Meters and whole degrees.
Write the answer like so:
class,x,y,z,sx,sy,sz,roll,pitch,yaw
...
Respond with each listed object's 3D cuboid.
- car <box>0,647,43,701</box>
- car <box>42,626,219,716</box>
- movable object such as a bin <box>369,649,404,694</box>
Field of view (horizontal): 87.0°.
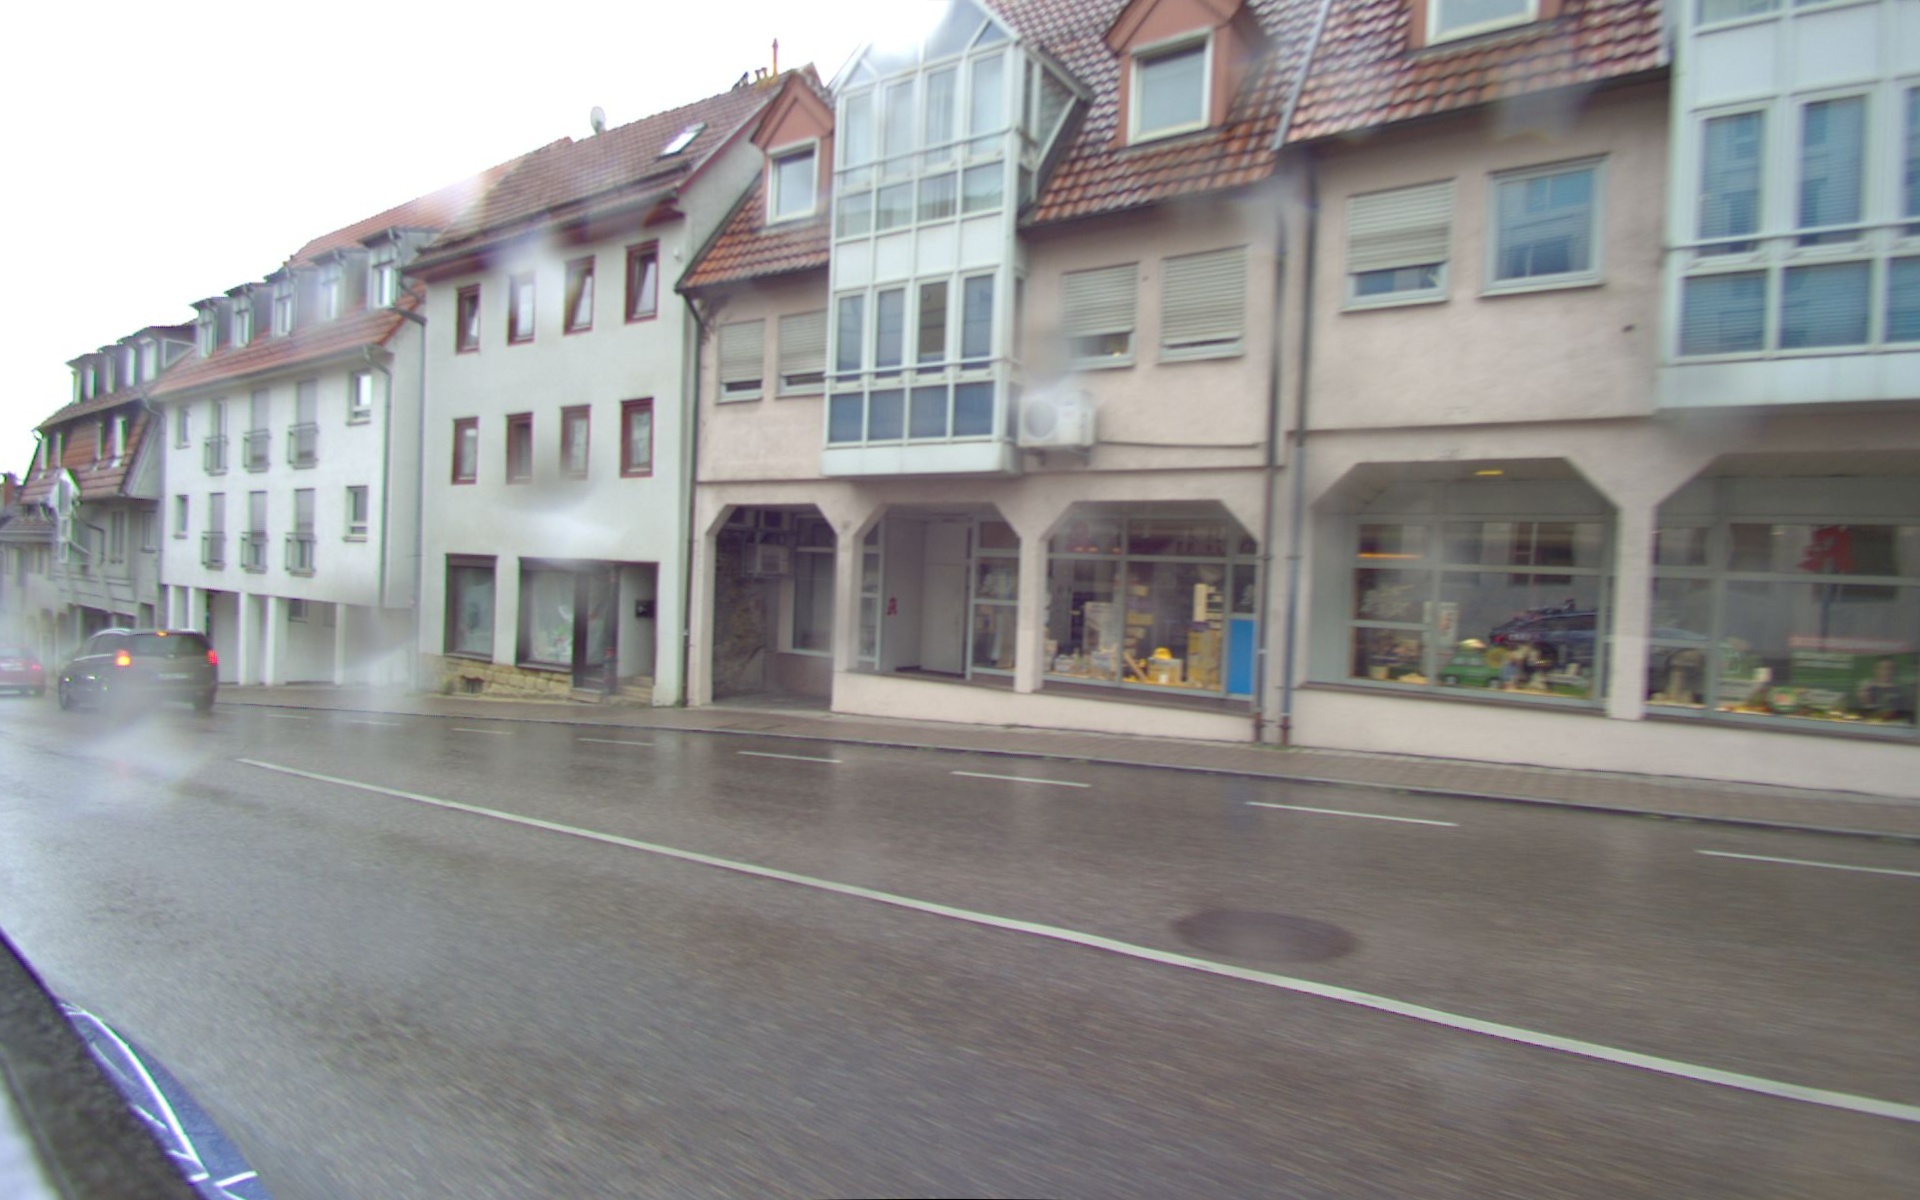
class,x,y,z,sx,sy,sz,roll,pitch,yaw
car,-28.569,2.175,29.934,3.444,1.547,1.544,-3,-4,38
car,-16.814,1.379,20.470,4.207,1.642,1.766,-2,-3,36
movable object such as a bin,-13.300,1.664,23.482,0.584,1.014,0.503,-3,-2,35
